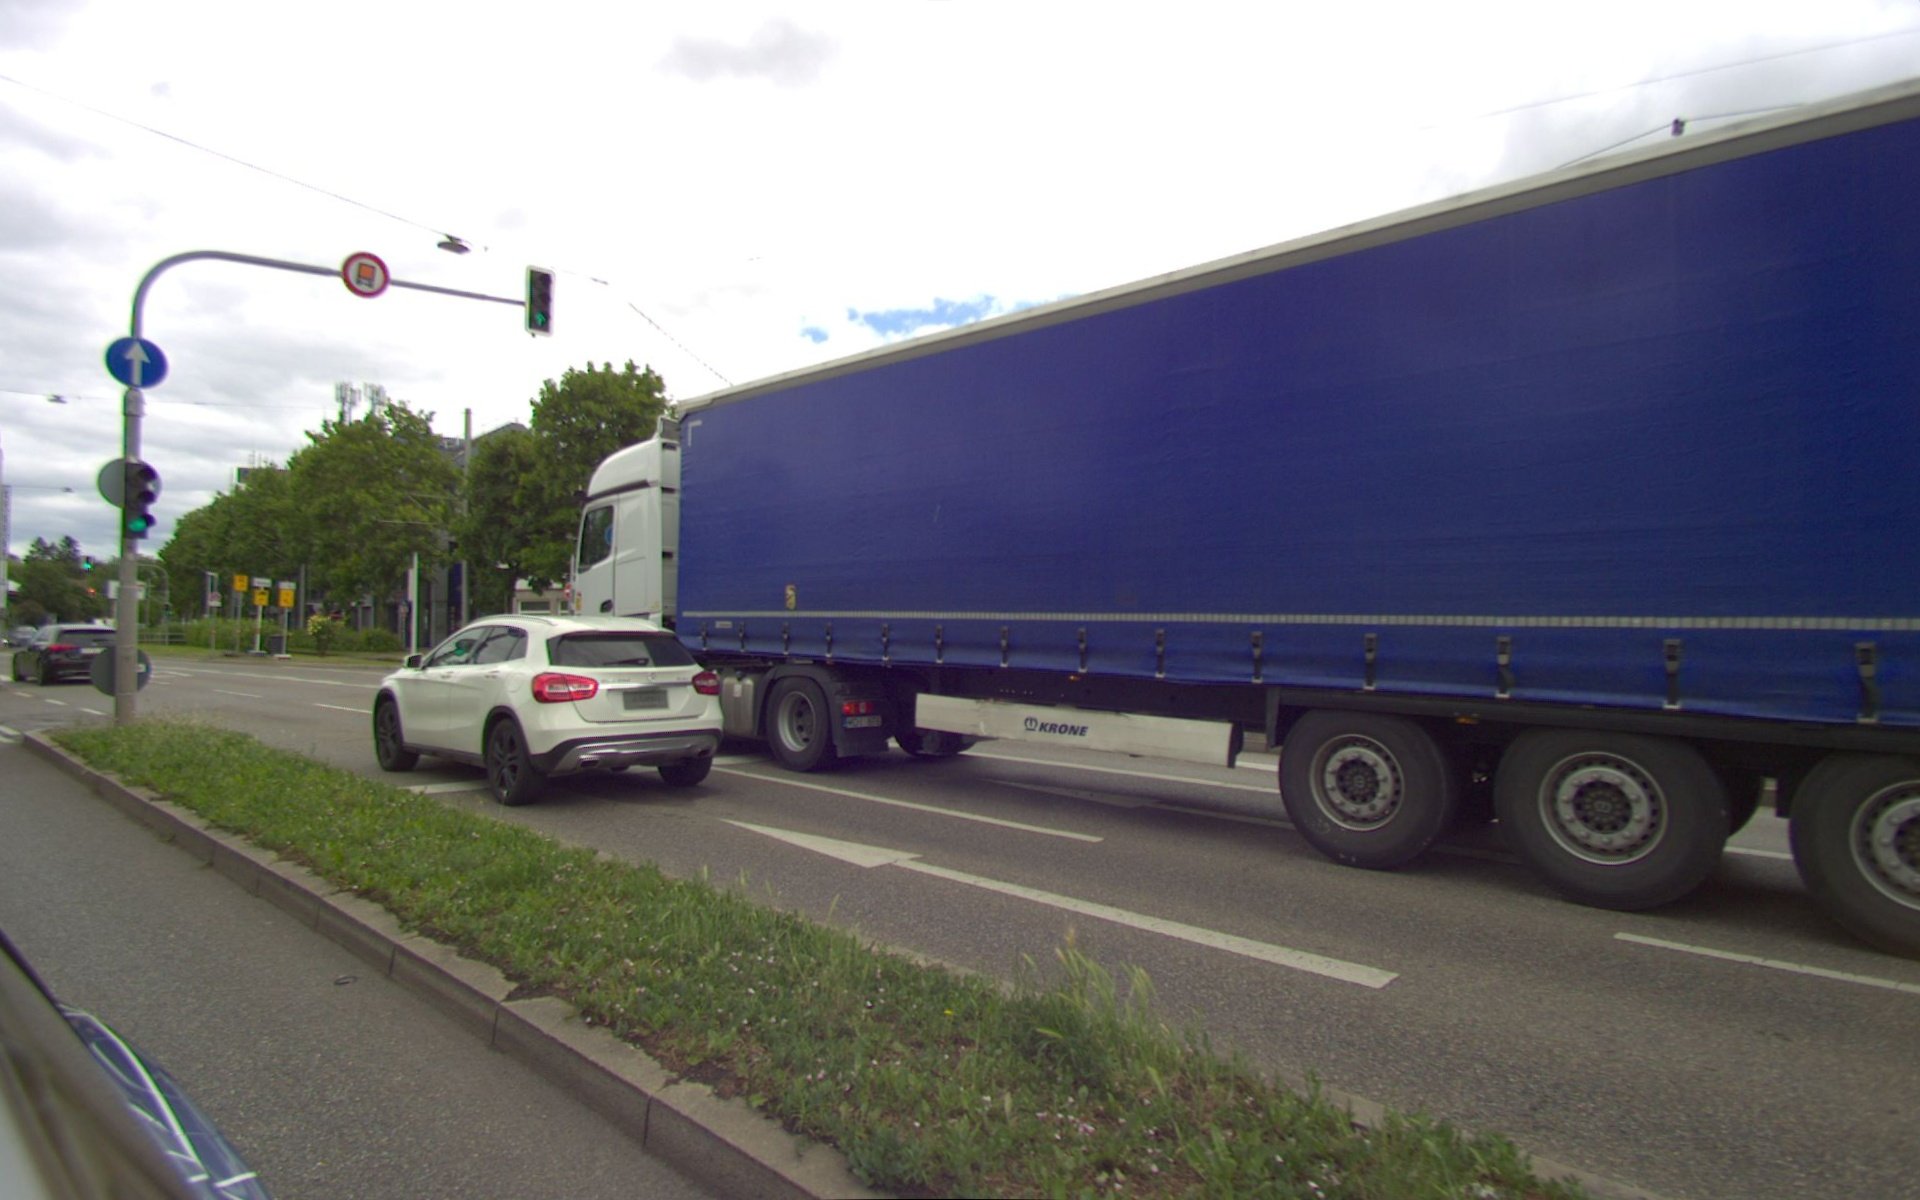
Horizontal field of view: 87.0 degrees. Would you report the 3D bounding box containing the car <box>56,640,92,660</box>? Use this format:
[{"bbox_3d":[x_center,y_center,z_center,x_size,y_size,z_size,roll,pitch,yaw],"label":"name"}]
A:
[{"bbox_3d":[-66.856,3.749,76.337,1.926,1.483,4.547,2,-3,-43],"label":"car"}]

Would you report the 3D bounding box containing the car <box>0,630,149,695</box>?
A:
[{"bbox_3d":[-22.006,1.479,25.079,4.767,1.470,1.974,-1,-3,39],"label":"car"}]

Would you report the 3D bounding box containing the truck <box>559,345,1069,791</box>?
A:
[{"bbox_3d":[-2.038,-0.175,12.427,6.157,4.053,3.056,-2,-3,44],"label":"truck"}]

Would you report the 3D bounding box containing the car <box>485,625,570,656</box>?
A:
[{"bbox_3d":[-23.933,2.239,56.076,1.991,1.608,3.962,-1,-2,28],"label":"car"}]

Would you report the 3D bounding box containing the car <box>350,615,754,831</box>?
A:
[{"bbox_3d":[-3.924,0.959,9.339,4.364,1.527,1.767,-2,-3,43],"label":"car"}]

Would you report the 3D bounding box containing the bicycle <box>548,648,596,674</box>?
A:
[{"bbox_3d":[-15.577,2.430,40.673,0.622,0.995,2.042,0,-2,19],"label":"bicycle"}]

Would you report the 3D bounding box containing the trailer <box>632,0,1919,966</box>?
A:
[{"bbox_3d":[2.511,-0.451,8.027,14.850,4.302,3.067,-2,-3,44],"label":"trailer"}]
